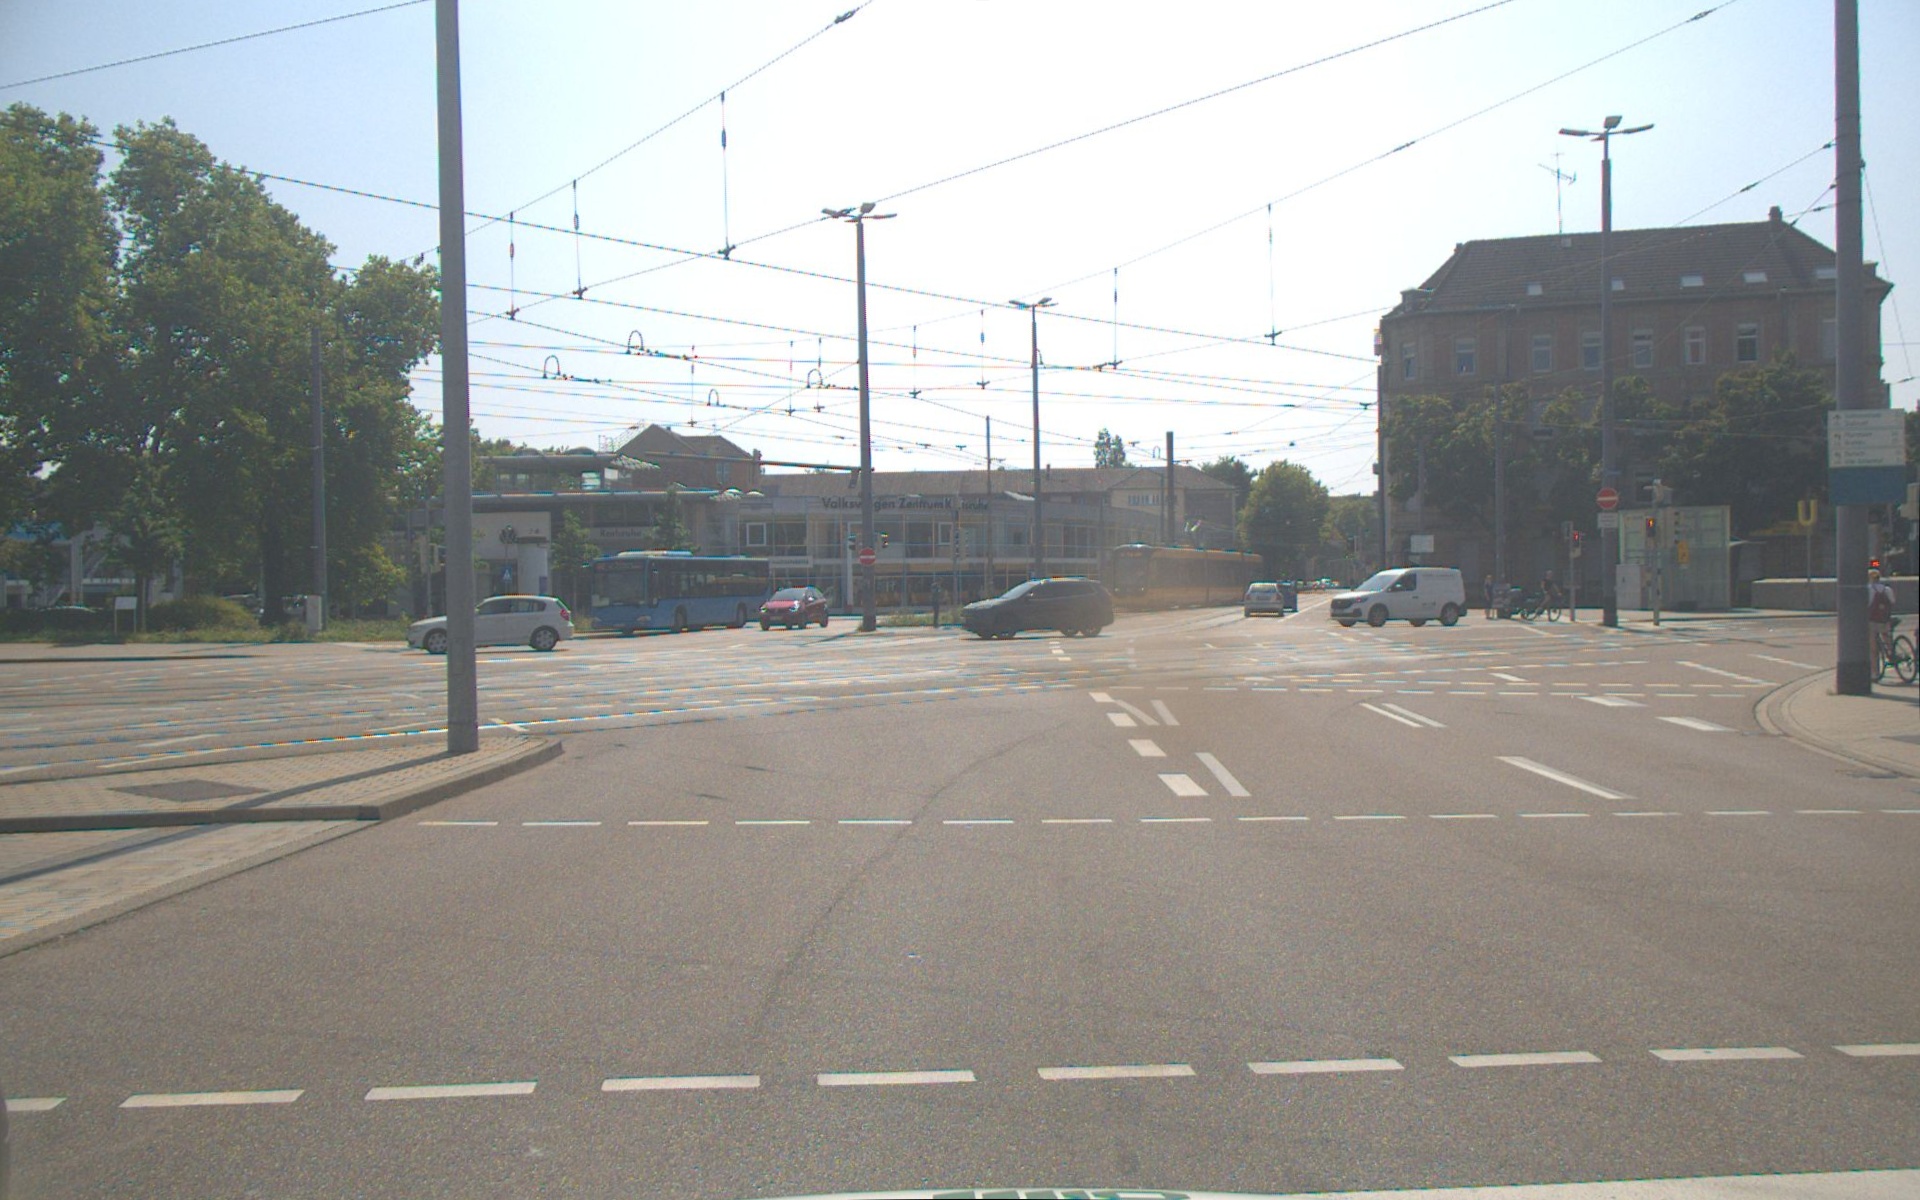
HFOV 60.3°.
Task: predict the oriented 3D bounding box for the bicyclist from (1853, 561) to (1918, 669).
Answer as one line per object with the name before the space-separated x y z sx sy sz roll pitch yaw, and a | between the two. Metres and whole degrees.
bicyclist | 13.474 0.220 24.096 0.614 1.544 0.712 -1 0 12

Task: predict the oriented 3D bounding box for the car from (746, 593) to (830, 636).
car | -6.542 0.532 63.234 1.713 1.579 4.002 -1 0 17

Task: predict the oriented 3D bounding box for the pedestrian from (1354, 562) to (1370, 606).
pedestrian | 28.657 -1.148 117.929 0.963 3.070 0.975 -1 0 5

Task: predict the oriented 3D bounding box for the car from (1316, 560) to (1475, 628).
car | 13.692 -0.208 52.006 4.545 2.049 1.987 -1 0 -21

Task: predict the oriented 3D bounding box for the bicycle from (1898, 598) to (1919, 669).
bicycle | 15.088 0.518 25.567 0.525 1.073 1.655 -1 0 12

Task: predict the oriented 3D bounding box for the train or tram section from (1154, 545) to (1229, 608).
train or tram section | 14.035 -1.377 99.553 2.534 3.578 9.661 -1 0 20

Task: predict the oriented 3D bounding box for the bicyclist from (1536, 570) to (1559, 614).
bicyclist | 21.460 -0.292 60.389 0.603 1.555 0.517 -1 0 -25

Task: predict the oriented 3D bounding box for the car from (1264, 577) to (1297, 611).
car | 16.176 -0.325 83.385 1.601 1.646 4.004 -1 0 11

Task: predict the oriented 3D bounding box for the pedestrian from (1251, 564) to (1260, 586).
pedestrian | 28.168 -2.398 157.609 0.713 2.049 0.670 -1 0 17

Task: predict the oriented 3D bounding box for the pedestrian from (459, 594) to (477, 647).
pedestrian | -16.314 0.674 54.868 0.544 1.713 0.452 -1 0 -19

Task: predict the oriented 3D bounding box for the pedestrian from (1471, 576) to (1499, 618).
pedestrian | 19.917 -0.114 62.758 0.834 1.572 0.528 -1 0 -9

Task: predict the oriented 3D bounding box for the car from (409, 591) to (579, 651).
car | -12.040 0.513 42.703 4.126 1.440 1.765 -1 0 -20

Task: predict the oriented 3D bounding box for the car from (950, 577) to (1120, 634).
car | 2.186 0.148 48.160 4.545 1.531 1.987 -1 0 -21

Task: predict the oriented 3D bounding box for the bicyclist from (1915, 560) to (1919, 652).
bicyclist | 14.995 0.095 25.183 0.519 1.417 0.894 -1 0 12

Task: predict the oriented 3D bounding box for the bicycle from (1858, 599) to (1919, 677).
bicycle | 13.468 0.526 23.761 0.525 1.073 1.655 -1 0 12

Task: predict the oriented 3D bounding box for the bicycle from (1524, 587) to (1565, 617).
bicycle | 21.387 0.073 60.562 0.462 1.073 1.643 -1 0 -20

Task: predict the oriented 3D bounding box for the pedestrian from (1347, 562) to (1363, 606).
pedestrian | 27.877 -1.160 116.730 0.963 3.070 0.975 -1 0 5

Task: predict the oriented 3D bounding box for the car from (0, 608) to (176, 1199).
car | -2.487 0.725 1.335 1.728 1.412 3.783 1 0 3

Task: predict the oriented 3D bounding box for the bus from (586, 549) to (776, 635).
bus | -10.891 -0.336 66.445 2.508 3.136 12.031 -1 0 16

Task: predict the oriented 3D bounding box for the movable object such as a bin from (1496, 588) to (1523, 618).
movable object such as a bin | 20.778 0.113 62.514 0.798 1.096 0.510 -1 0 -11

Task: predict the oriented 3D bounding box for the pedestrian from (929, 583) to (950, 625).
pedestrian | -0.728 0.137 58.752 0.666 1.468 0.364 -1 0 -18

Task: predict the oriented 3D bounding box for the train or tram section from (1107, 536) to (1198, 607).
train or tram section | 10.605 -1.507 90.009 2.534 3.578 10.901 -1 0 20

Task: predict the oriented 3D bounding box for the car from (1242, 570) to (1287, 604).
car | 13.566 -0.597 73.854 1.732 1.440 4.192 -1 0 8

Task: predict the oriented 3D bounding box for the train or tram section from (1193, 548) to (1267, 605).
train or tram section | 18.135 -1.524 110.196 2.534 3.578 12.976 -1 0 20
